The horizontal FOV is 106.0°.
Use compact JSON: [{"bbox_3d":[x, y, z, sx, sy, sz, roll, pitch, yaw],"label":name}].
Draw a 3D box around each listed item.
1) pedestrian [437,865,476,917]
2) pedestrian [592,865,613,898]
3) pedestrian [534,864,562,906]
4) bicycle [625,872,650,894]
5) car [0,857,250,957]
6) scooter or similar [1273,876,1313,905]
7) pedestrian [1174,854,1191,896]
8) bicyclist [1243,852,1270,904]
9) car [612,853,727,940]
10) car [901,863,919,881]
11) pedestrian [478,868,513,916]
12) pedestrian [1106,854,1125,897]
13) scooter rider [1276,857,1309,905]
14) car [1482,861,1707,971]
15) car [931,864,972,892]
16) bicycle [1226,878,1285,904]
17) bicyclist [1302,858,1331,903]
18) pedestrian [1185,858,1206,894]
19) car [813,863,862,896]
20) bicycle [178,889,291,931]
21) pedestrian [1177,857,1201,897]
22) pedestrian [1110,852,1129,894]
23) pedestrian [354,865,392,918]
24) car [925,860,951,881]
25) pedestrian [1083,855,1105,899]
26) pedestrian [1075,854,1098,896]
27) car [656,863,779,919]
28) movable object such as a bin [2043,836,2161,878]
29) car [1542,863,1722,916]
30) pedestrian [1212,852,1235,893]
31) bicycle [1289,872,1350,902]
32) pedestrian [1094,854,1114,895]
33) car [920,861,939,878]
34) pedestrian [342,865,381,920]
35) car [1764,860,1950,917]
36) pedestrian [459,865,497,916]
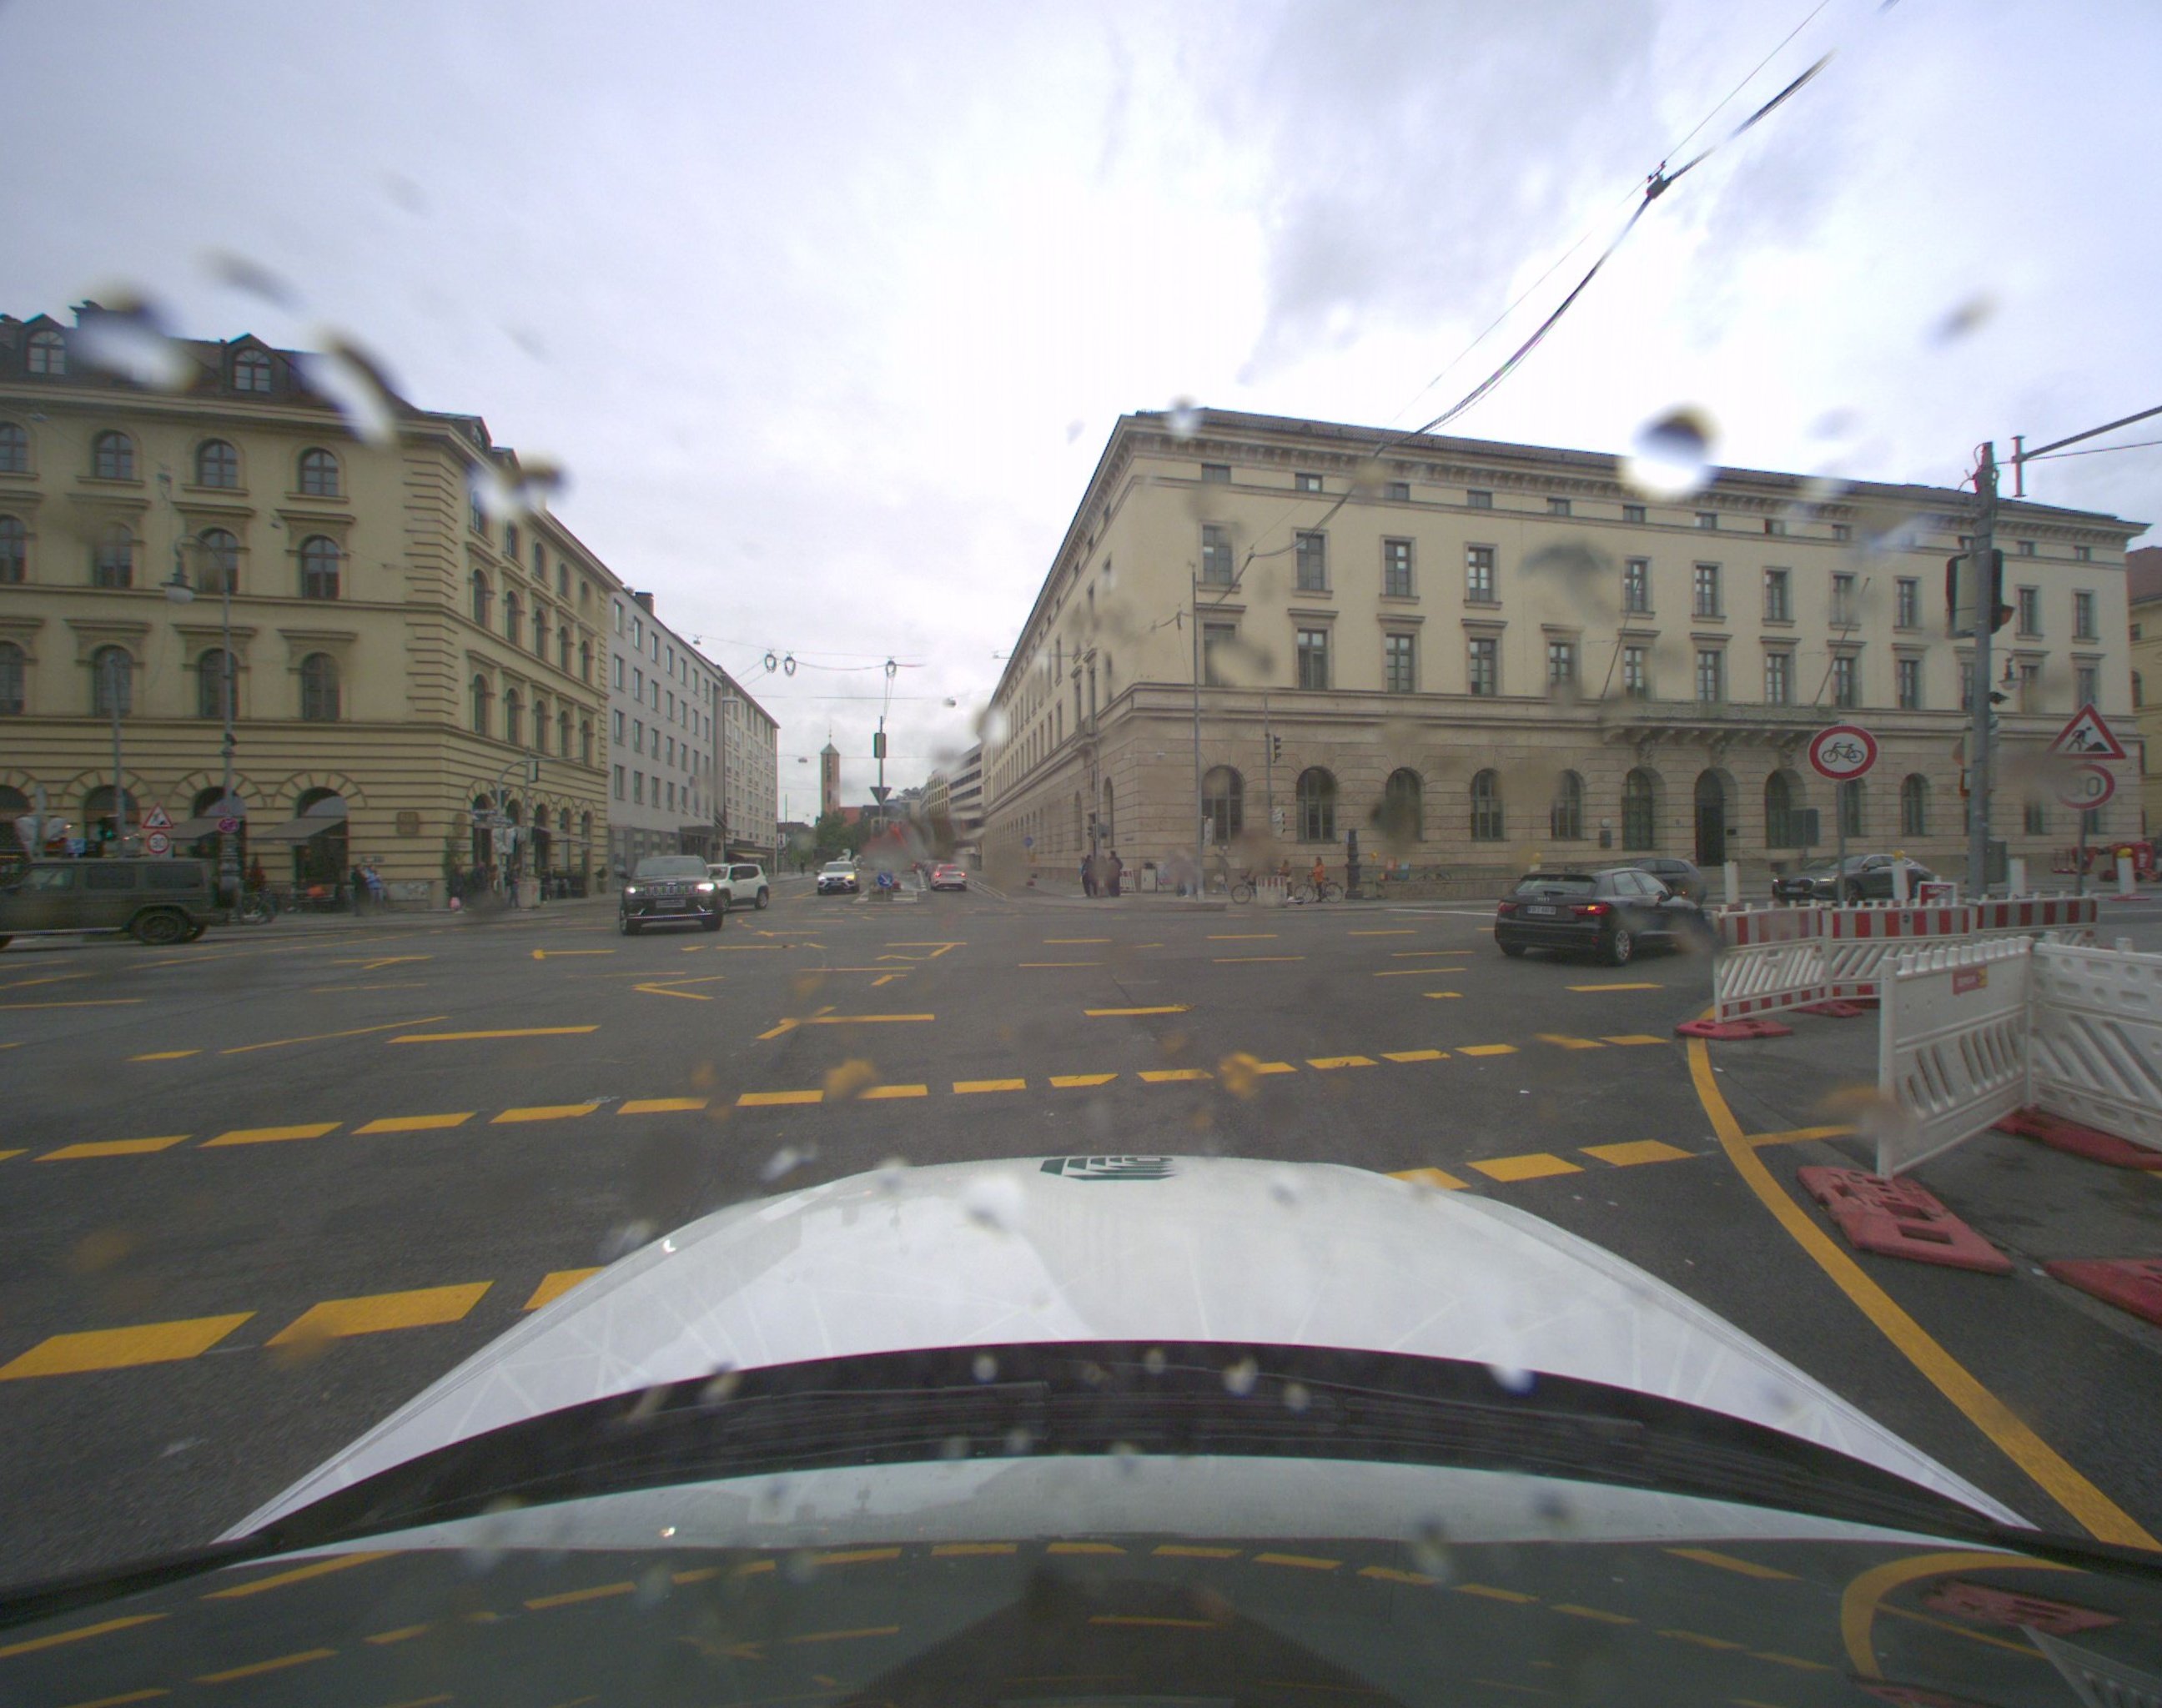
[{"bbox_3d":[-21.545,1.253,28.101,0.729,1.772,0.762,0,-1,9],"label":"pedestrian"},{"bbox_3d":[-26.089,1.489,44.423,0.737,1.772,0.733,1,-1,-13],"label":"pedestrian"},{"bbox_3d":[-22.754,1.314,34.780,0.737,1.772,0.733,1,-1,-13],"label":"pedestrian"},{"bbox_3d":[-26.894,1.732,49.390,0.598,1.242,2.192,1,0,-9],"label":"bicycle"},{"bbox_3d":[-22.070,1.114,18.352,4.473,2.014,2.219,-1,0,-40],"label":"car"},{"bbox_3d":[7.311,1.263,28.141,1.211,0.965,0.585,1,-1,-11],"label":"scooter or similar"},{"bbox_3d":[4.134,0.848,33.177,0.615,1.672,0.541,0,-1,-4],"label":"pedestrian"},{"bbox_3d":[6.311,0.845,29.291,0.743,1.842,0.658,1,-1,-9],"label":"bicyclist"},{"bbox_3d":[-9.656,0.895,18.921,2.008,1.734,4.539,-1,0,-32],"label":"car"},{"bbox_3d":[-20.642,2.131,98.253,1.995,2.014,3.983,-1,0,-12],"label":"car"},{"bbox_3d":[-22.314,1.441,31.041,0.734,1.772,0.736,0,-1,1],"label":"pedestrian"},{"bbox_3d":[1.429,0.868,33.613,0.579,1.755,0.824,0,-1,19],"label":"pedestrian"},{"bbox_3d":[7.301,0.927,28.140,0.932,1.622,0.590,1,-1,-11],"label":"scooter rider"},{"bbox_3d":[8.242,0.852,12.947,4.020,1.388,1.848,-1,0,-39],"label":"car"},{"bbox_3d":[-7.167,1.277,44.806,1.816,1.425,4.430,1,-1,-15],"label":"car"},{"bbox_3d":[6.262,1.329,29.274,1.971,0.879,0.659,0,-1,-10],"label":"bicycle"},{"bbox_3d":[8.497,0.944,29.392,0.743,1.615,0.792,1,-1,-9],"label":"bicyclist"},{"bbox_3d":[4.860,0.938,34.592,0.664,1.527,0.817,0,-1,-8],"label":"pedestrian"},{"bbox_3d":[-12.102,1.224,40.726,1.995,1.524,4.215,-1,0,-12],"label":"car"},{"bbox_3d":[-24.748,1.625,23.873,2.209,1.099,0.593,0,-1,-37],"label":"bicycle"},{"bbox_3d":[4.294,0.915,32.464,0.816,1.557,0.666,0,-1,-5],"label":"pedestrian"},{"bbox_3d":[1.635,0.805,34.381,0.579,1.755,0.824,0,-1,19],"label":"pedestrian"},{"bbox_3d":[-23.906,1.246,27.502,0.737,1.772,0.734,1,-1,-22],"label":"pedestrian"},{"bbox_3d":[-11.385,1.292,64.746,1.867,1.601,3.834,-1,0,-12],"label":"car"},{"bbox_3d":[0.535,0.928,32.998,0.813,1.755,0.680,0,-1,4],"label":"pedestrian"},{"bbox_3d":[0.233,0.890,34.517,0.824,1.755,0.578,1,-1,-43],"label":"pedestrian"},{"bbox_3d":[-12.060,1.172,27.357,1.783,1.677,4.242,-1,0,8],"label":"car"},{"bbox_3d":[50.422,0.160,39.948,5.959,2.014,1.510,0,-1,-12],"label":"movable object such as a bin"},{"bbox_3d":[15.336,0.967,22.739,4.230,1.388,1.742,0,-2,-13],"label":"car"},{"bbox_3d":[5.959,0.781,34.138,0.715,1.694,0.817,1,-1,-11],"label":"pedestrian"},{"bbox_3d":[8.605,1.197,29.408,1.958,1.040,0.792,0,-1,-10],"label":"bicycle"},{"bbox_3d":[0.994,0.881,35.237,0.814,1.755,0.586,0,-1,2],"label":"pedestrian"},{"bbox_3d":[-15.498,1.564,83.147,1.867,1.601,3.834,-1,0,-12],"label":"car"},{"bbox_3d":[-23.652,1.241,26.790,0.737,1.772,0.734,1,-1,-22],"label":"pedestrian"},{"bbox_3d":[23.341,1.012,24.532,4.565,1.567,1.784,-1,-3,-13],"label":"car"},{"bbox_3d":[-21.369,1.276,28.861,0.729,1.772,0.741,0,-1,9],"label":"pedestrian"}]
